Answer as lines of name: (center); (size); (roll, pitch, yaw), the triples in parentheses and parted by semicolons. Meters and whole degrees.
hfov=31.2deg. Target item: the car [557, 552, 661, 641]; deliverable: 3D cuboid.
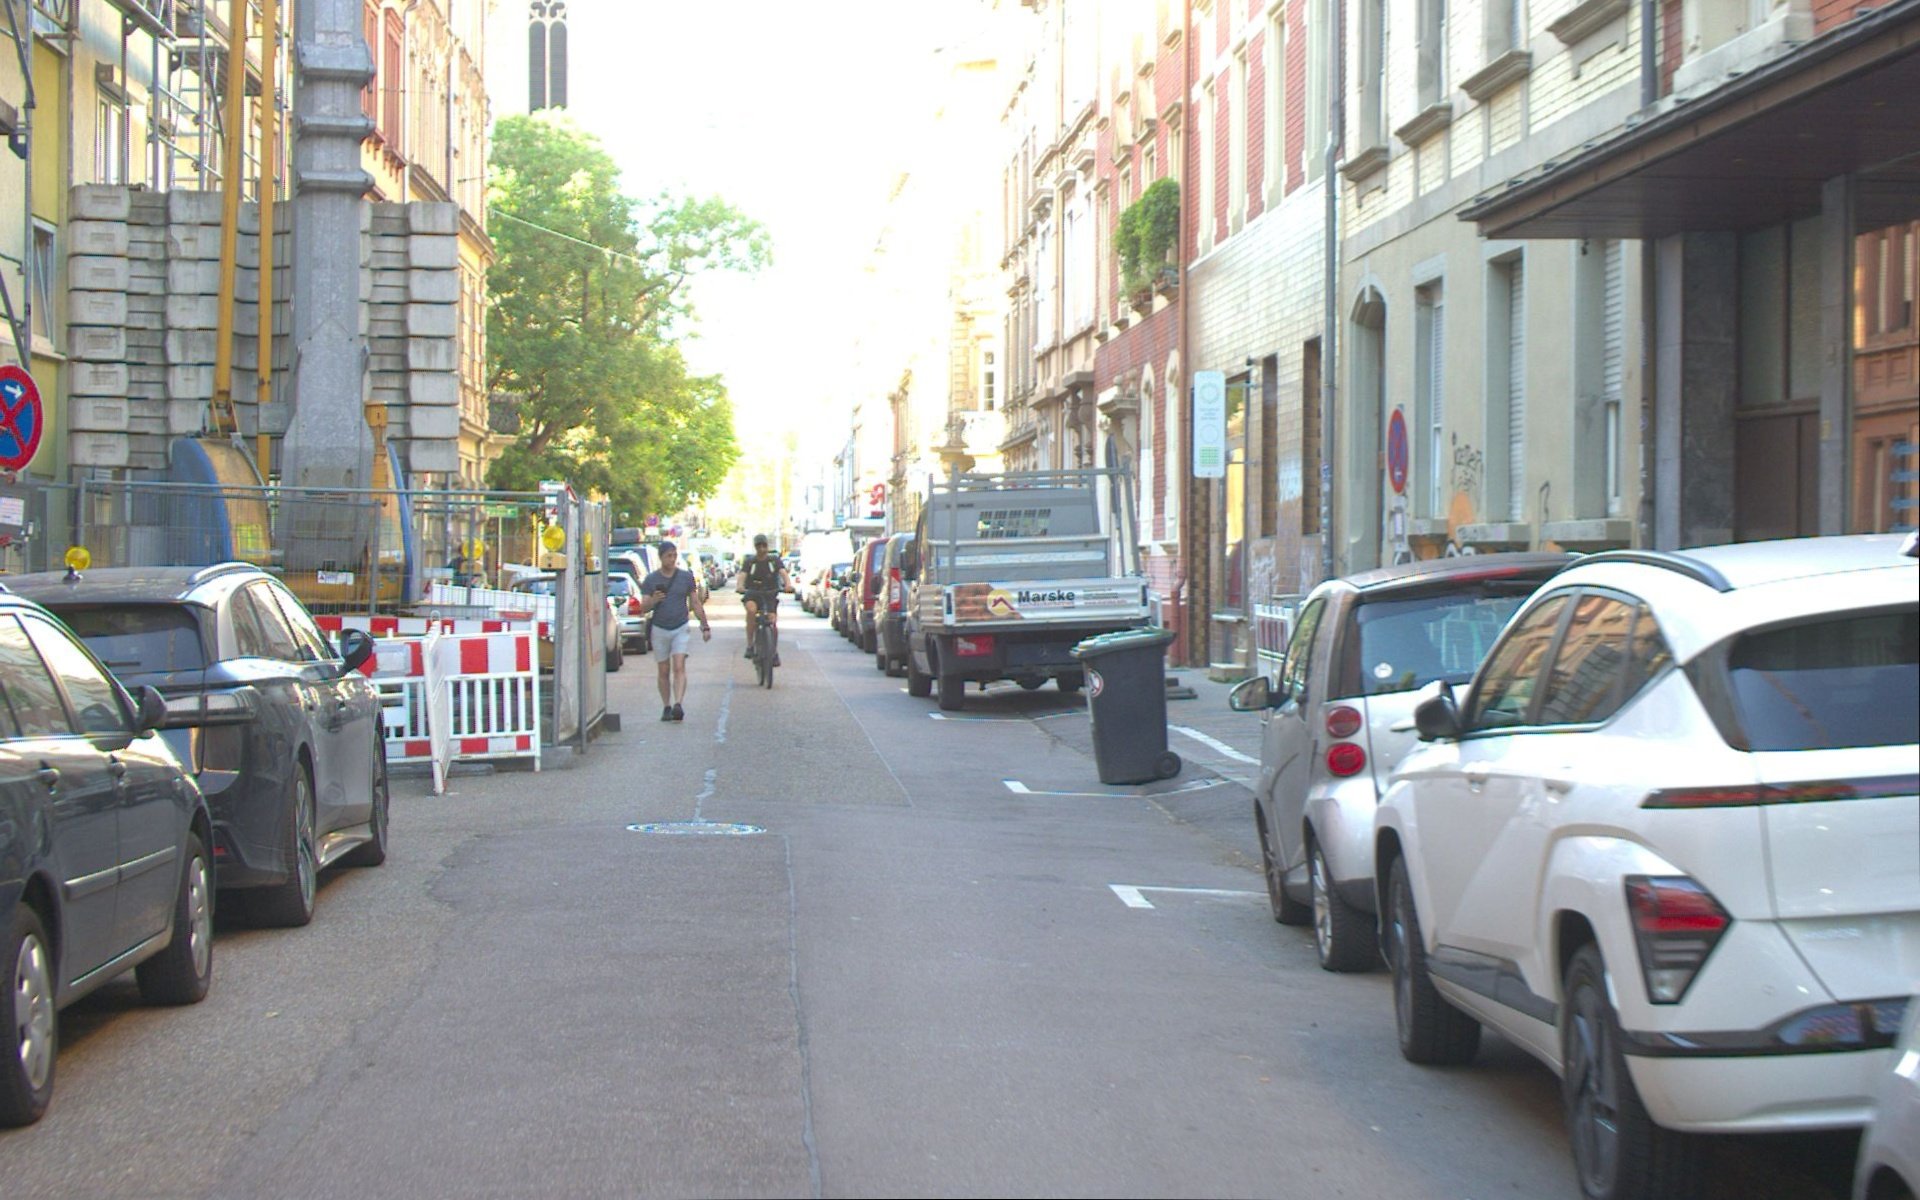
car: (-5.851, -0.077, 57.439); (1.674, 1.440, 3.870); (0, 1, -5)

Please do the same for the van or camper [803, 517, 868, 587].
van or camper: (-4.596, -1.762, 126.162); (1.993, 2.500, 4.203); (-1, 1, -7)

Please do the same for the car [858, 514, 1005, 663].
car: (-0.431, -0.175, 47.344); (1.674, 1.956, 4.110); (0, 1, -5)

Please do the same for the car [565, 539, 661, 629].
car: (-6.272, -0.303, 62.313); (1.674, 1.566, 3.870); (0, 1, -5)

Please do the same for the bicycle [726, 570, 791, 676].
bicycle: (-2.395, 0.260, 40.995); (0.724, 1.182, 2.043); (1, 2, -3)

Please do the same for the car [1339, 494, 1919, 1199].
car: (2.227, 0.588, 9.389); (1.746, 1.670, 4.341); (0, 1, -2)

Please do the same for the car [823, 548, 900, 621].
car: (-2.821, -0.459, 97.590); (1.993, 2.007, 4.001); (0, 1, -4)

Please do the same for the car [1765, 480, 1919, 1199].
car: (2.257, 0.669, 3.891); (1.640, 1.650, 3.870); (0, 1, -2)

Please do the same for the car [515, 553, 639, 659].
car: (-5.382, 0.061, 48.635); (1.674, 1.440, 3.870); (0, 1, -5)

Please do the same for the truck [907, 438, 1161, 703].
truck: (0.699, -0.334, 36.758); (2.189, 2.598, 5.235); (-1, 1, -4)

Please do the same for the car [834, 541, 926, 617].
car: (-1.733, -0.454, 73.172); (1.674, 1.566, 3.870); (0, 1, -5)

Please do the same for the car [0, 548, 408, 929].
car: (-3.583, 0.511, 15.609); (1.674, 1.472, 4.608); (0, 1, -3)

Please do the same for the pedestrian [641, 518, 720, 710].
pedestrian: (-2.569, 0.124, 31.665); (0.657, 1.727, 0.720); (-2, 1, -3)

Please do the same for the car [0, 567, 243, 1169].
car: (-3.357, 0.655, 10.461); (1.674, 1.506, 4.415); (0, 1, -3)

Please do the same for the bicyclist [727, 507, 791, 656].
bicyclist: (-2.395, -0.231, 41.044); (0.730, 1.755, 0.835); (1, 1, -3)

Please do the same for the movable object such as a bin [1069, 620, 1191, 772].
movable object such as a bin: (1.205, 0.676, 24.432); (0.795, 1.052, 0.660); (0, 1, -3)

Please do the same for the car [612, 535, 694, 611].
car: (-6.518, -0.577, 72.789); (1.674, 1.566, 3.870); (0, 1, -5)

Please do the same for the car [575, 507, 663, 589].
car: (-6.692, -1.010, 67.576); (1.674, 1.566, 3.870); (0, 1, -5)

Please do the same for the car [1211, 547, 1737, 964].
car: (2.066, 0.555, 14.779); (1.596, 1.555, 3.814); (0, 1, -1)

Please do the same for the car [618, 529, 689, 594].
car: (-8.980, -1.141, 100.942); (1.993, 1.842, 4.001); (-1, 1, -4)

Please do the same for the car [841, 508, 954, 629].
car: (-1.114, -0.552, 59.689); (1.674, 2.024, 3.870); (0, 1, -5)
